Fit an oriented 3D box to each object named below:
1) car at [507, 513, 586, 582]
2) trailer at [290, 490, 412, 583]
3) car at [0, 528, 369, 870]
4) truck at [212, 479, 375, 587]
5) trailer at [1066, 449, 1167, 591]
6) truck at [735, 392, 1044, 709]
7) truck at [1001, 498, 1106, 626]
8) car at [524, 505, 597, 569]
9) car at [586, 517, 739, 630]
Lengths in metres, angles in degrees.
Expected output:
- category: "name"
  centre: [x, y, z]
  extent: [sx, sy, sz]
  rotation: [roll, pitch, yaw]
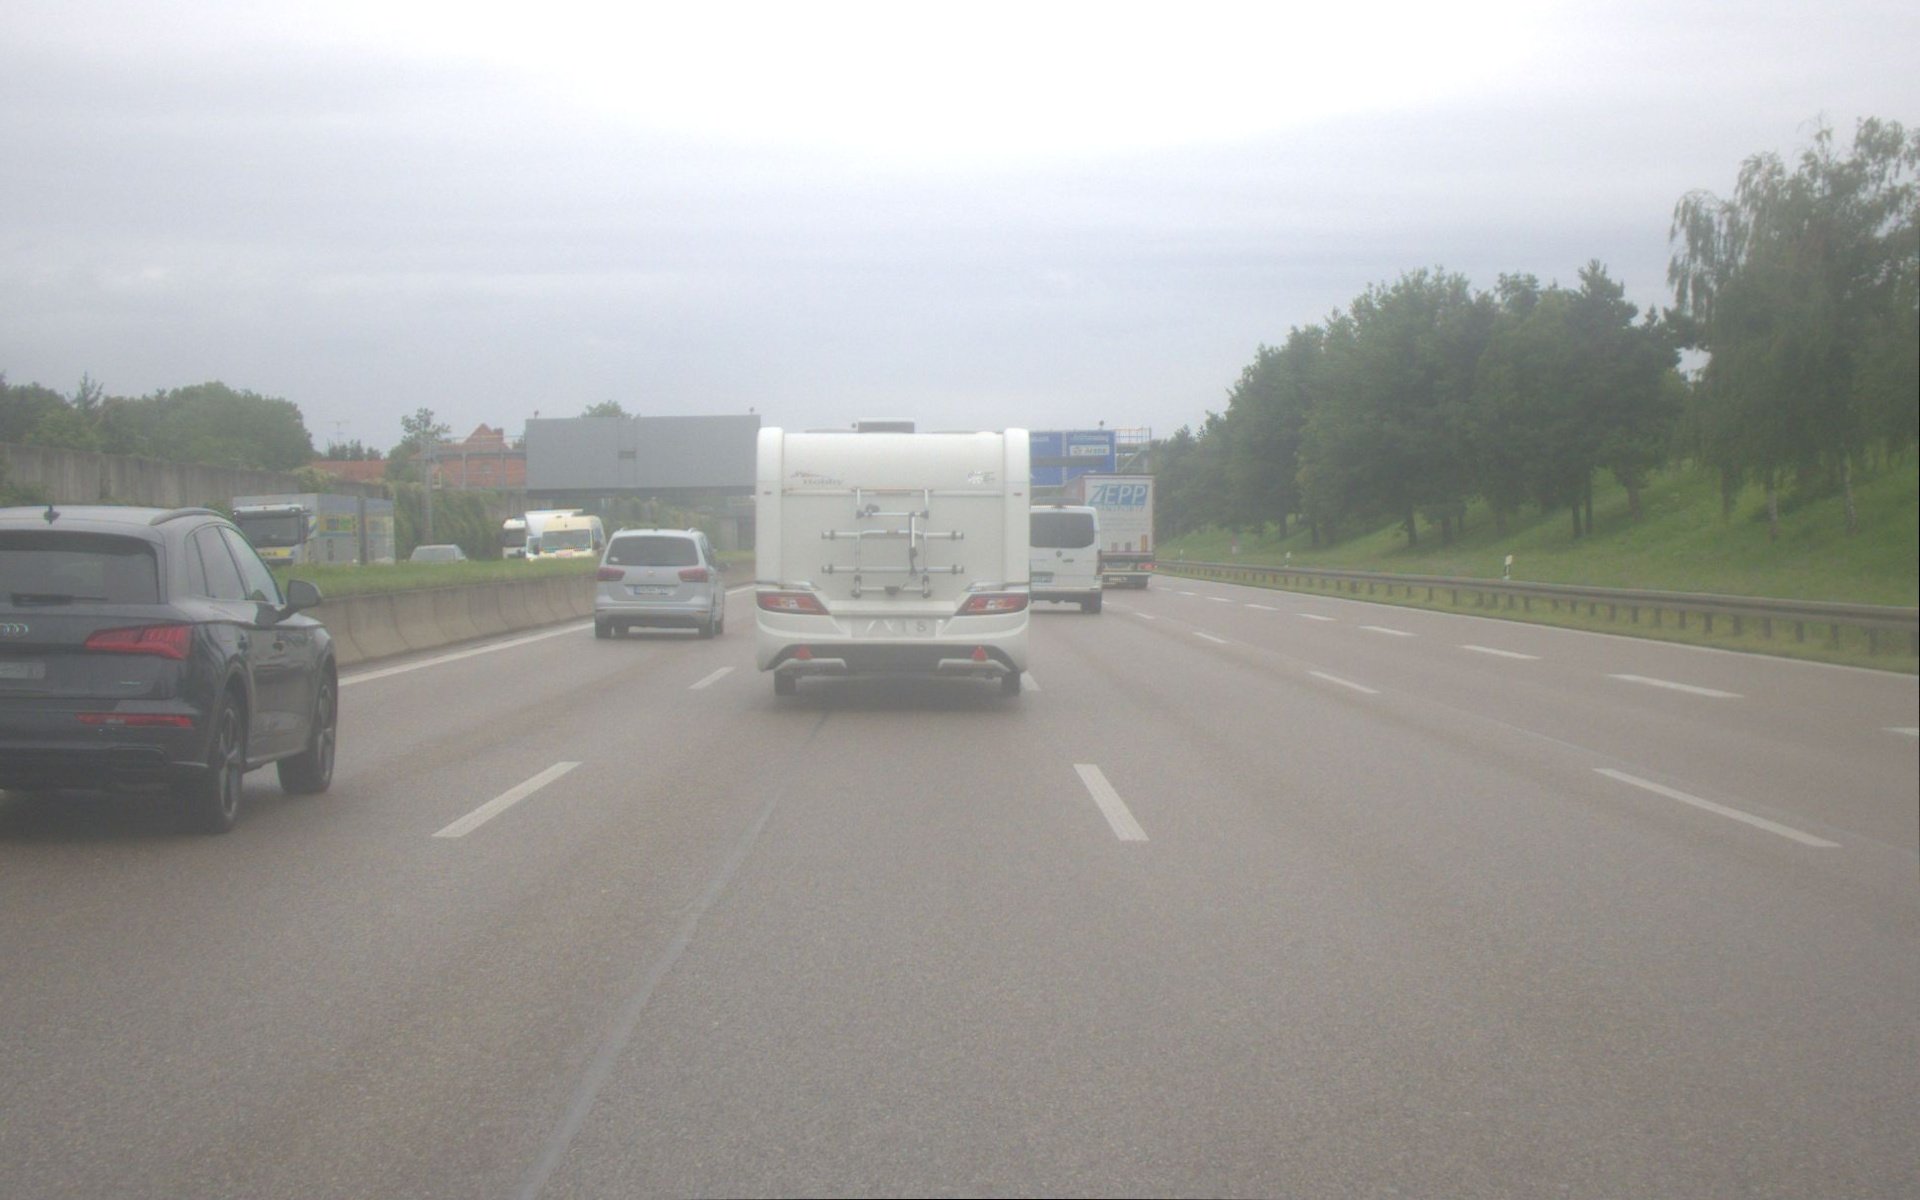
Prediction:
- category: "car"
  centre: [-14.911, -1.880, 124.434]
  extent: [2.058, 2.377, 7.324]
  rotation: [1, 1, -1]
- category: "trailer"
  centre: [-21.050, -2.186, 119.137]
  extent: [2.777, 3.066, 7.873]
  rotation: [1, 1, 0]
- category: "car"
  centre: [-4.616, 0.428, 18.701]
  extent: [1.993, 1.594, 5.124]
  rotation: [1, 1, -1]
- category: "truck"
  centre: [-21.093, -2.077, 109.464]
  extent: [2.884, 3.210, 11.358]
  rotation: [1, 1, 0]
- category: "trailer"
  centre: [5.634, -2.861, 125.601]
  extent: [3.100, 4.905, 11.790]
  rotation: [1, 1, 0]
- category: "truck"
  centre: [-0.671, -0.464, 32.655]
  extent: [2.661, 2.733, 5.078]
  rotation: [1, 1, -1]
- category: "truck"
  centre: [2.066, -0.858, 77.633]
  extent: [2.053, 2.760, 5.549]
  rotation: [1, 1, -1]
- category: "car"
  centre: [-17.542, -2.736, 151.204]
  extent: [2.322, 2.725, 7.316]
  rotation: [1, 1, 0]
- category: "car"
  centre: [-4.636, -0.436, 54.159]
  extent: [2.127, 1.700, 4.113]
  rotation: [0, 1, -1]
